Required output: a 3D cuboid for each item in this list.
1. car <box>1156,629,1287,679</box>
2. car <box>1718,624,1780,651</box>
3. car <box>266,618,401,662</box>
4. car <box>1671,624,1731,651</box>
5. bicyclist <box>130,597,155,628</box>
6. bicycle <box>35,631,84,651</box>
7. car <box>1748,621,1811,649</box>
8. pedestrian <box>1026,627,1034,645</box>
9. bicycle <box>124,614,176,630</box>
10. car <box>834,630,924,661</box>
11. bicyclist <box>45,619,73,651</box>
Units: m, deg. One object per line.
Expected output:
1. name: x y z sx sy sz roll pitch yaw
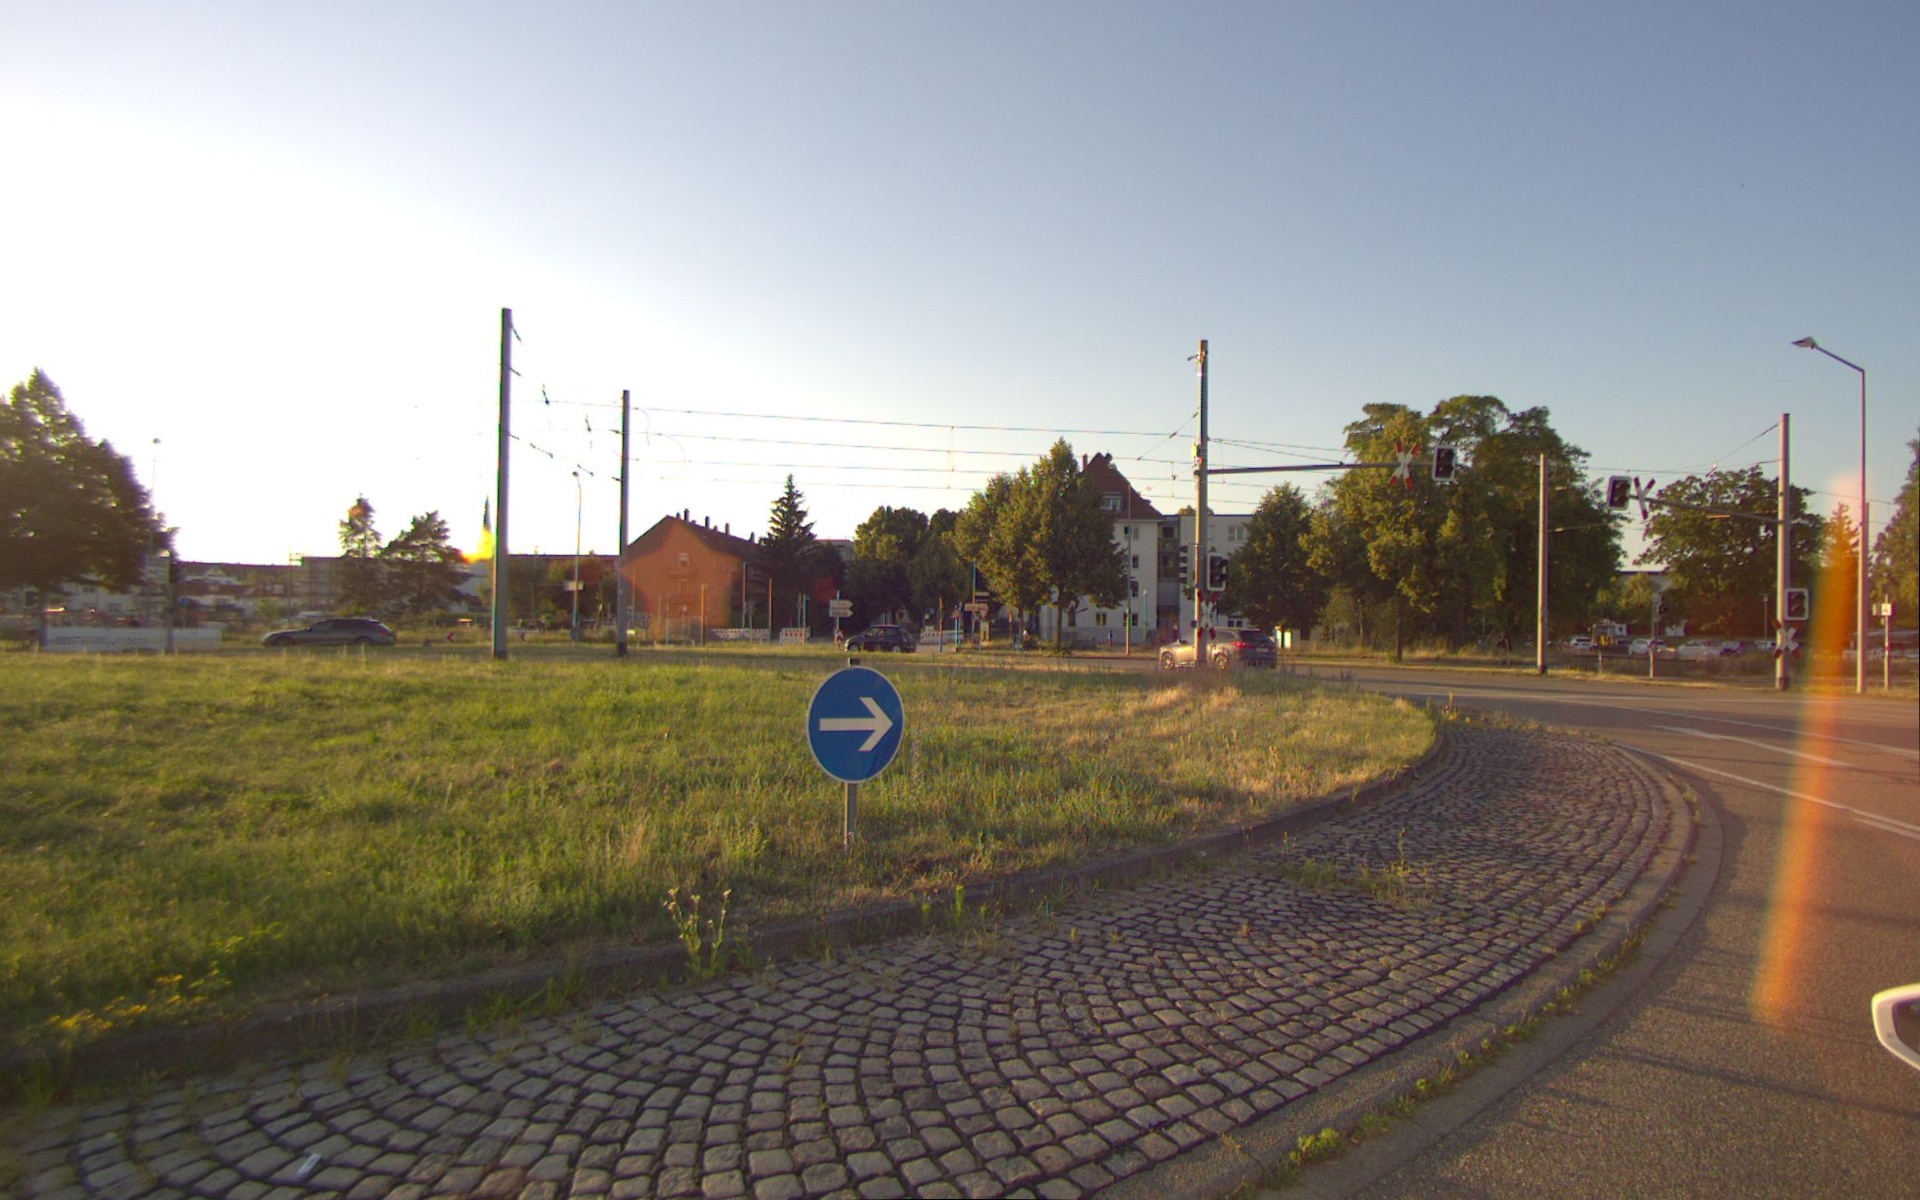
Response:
1. car: 8.406 1.699 32.666 1.732 1.486 4.100 1 -1 -31
2. car: 63.300 2.988 80.652 1.960 2.126 4.001 1 -1 2
3. car: -26.035 1.635 41.923 4.531 1.771 1.742 1 -1 -23
4. car: 59.729 3.004 81.050 1.960 2.126 4.001 1 -1 2
5. bicyclist: -43.564 0.657 53.530 0.786 1.655 0.693 0 -1 -18
6. bicycle: -46.702 2.109 52.111 0.539 0.993 1.842 0 -1 26
7. car: 65.992 2.803 80.979 1.960 2.126 4.001 1 -1 2
8. pedestrian: 5.377 2.787 77.406 0.538 1.392 0.357 1 -1 -12
9. bicycle: -43.306 1.168 53.733 2.102 0.857 0.510 0 -1 -19
10. car: -3.952 2.198 49.109 4.052 1.465 1.752 0 -1 18
11. bicyclist: -46.717 1.802 52.075 0.800 1.662 0.814 0 -1 26
